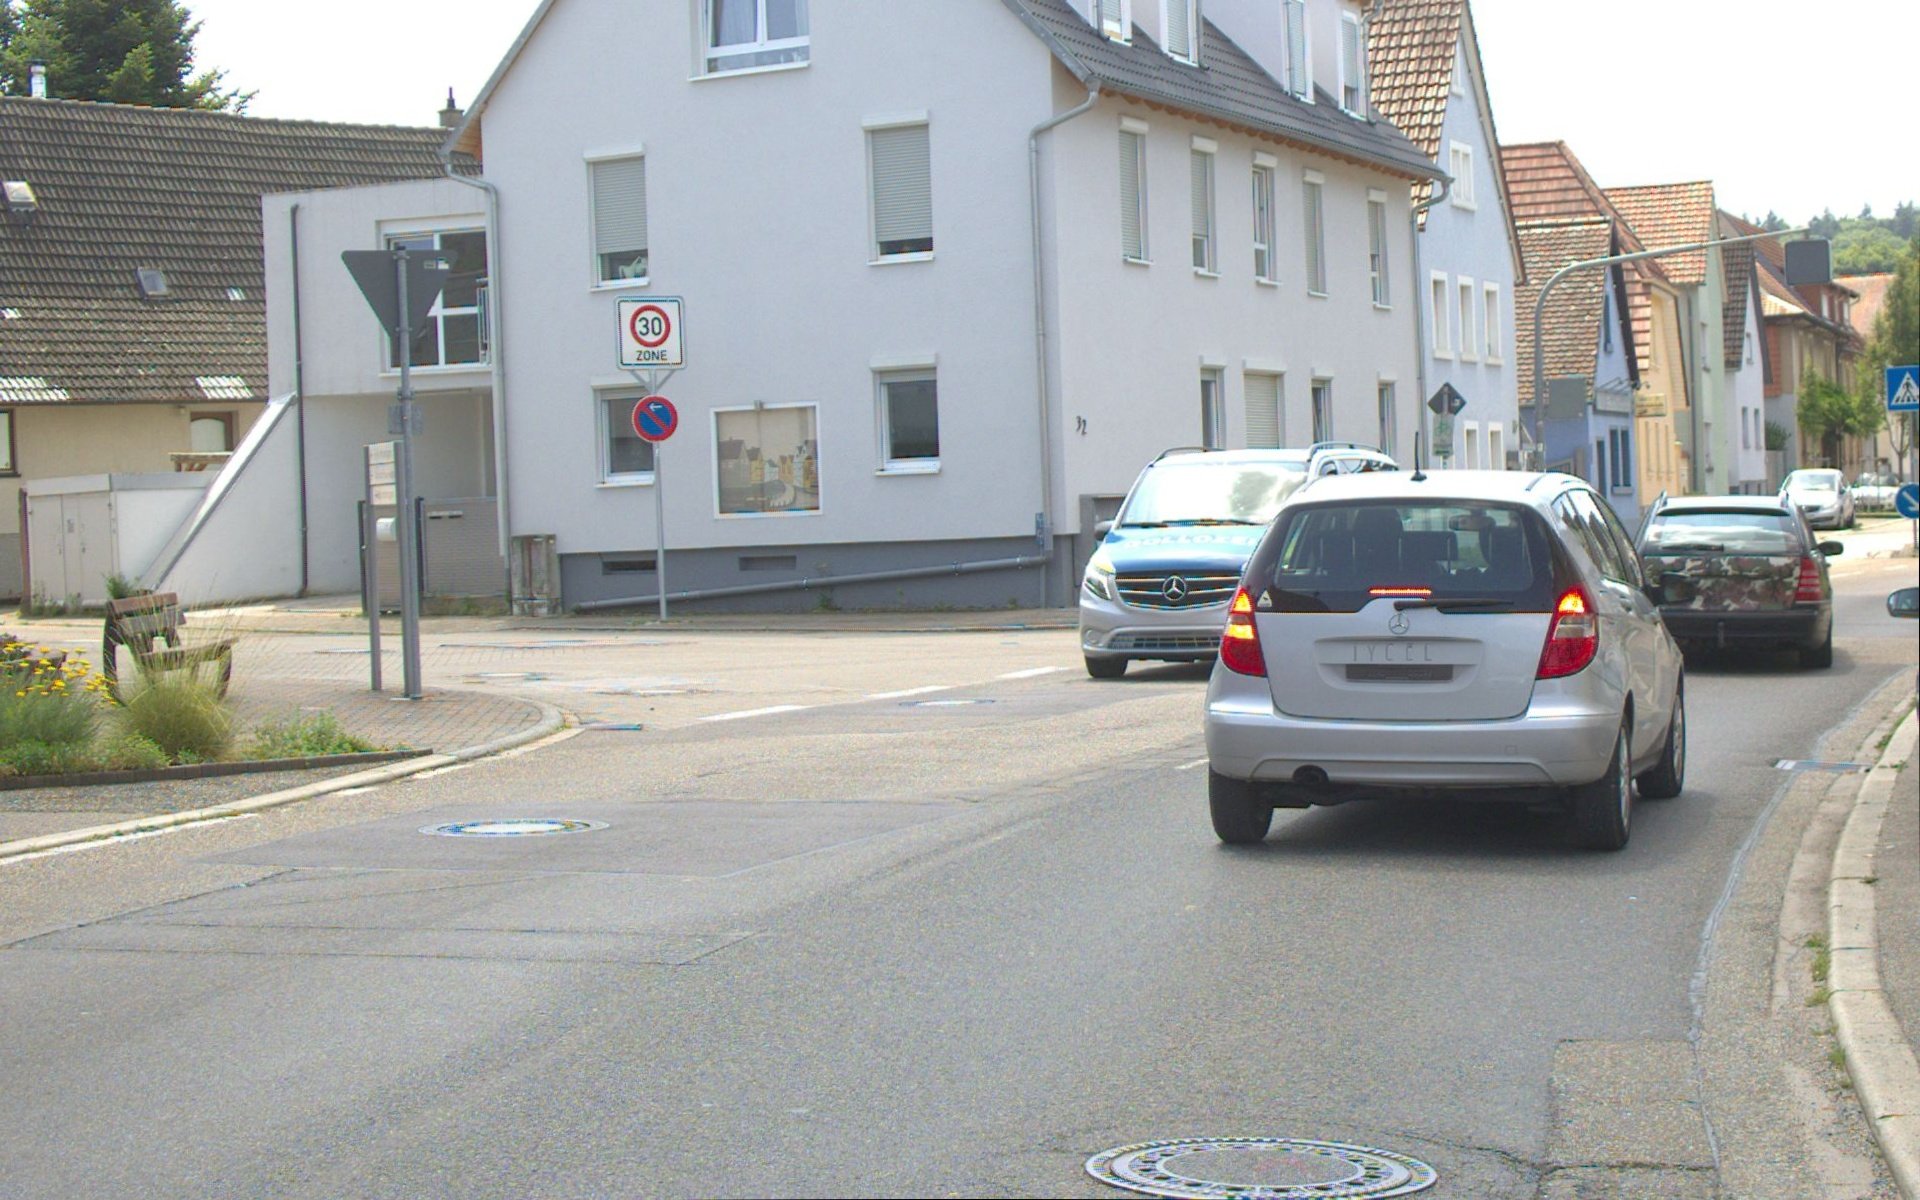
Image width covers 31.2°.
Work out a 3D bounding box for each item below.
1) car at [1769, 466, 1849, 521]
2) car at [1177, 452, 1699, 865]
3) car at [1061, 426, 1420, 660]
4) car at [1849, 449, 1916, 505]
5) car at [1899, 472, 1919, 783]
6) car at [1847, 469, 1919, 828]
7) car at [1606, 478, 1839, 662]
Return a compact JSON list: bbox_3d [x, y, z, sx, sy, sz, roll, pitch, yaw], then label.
[{"bbox_3d":[22.523,-2.808,91.102,1.995,1.316,3.706,0,0,15],"label":"car"},{"bbox_3d":[2.296,0.169,15.685,1.812,1.638,3.726,1,2,17],"label":"car"},{"bbox_3d":[2.478,-0.451,29.074,1.995,1.793,4.932,0,0,17],"label":"car"},{"bbox_3d":[28.667,-3.811,106.731,1.669,1.590,3.996,0,0,20],"label":"car"},{"bbox_3d":[3.928,0.309,9.918,1.885,1.525,4.334,-4,1,10],"label":"car"},{"bbox_3d":[4.972,0.125,15.153,1.771,1.395,4.422,-4,0,12],"label":"car"},{"bbox_3d":[6.318,-0.243,28.688,1.751,1.411,3.998,0,0,11],"label":"car"}]
